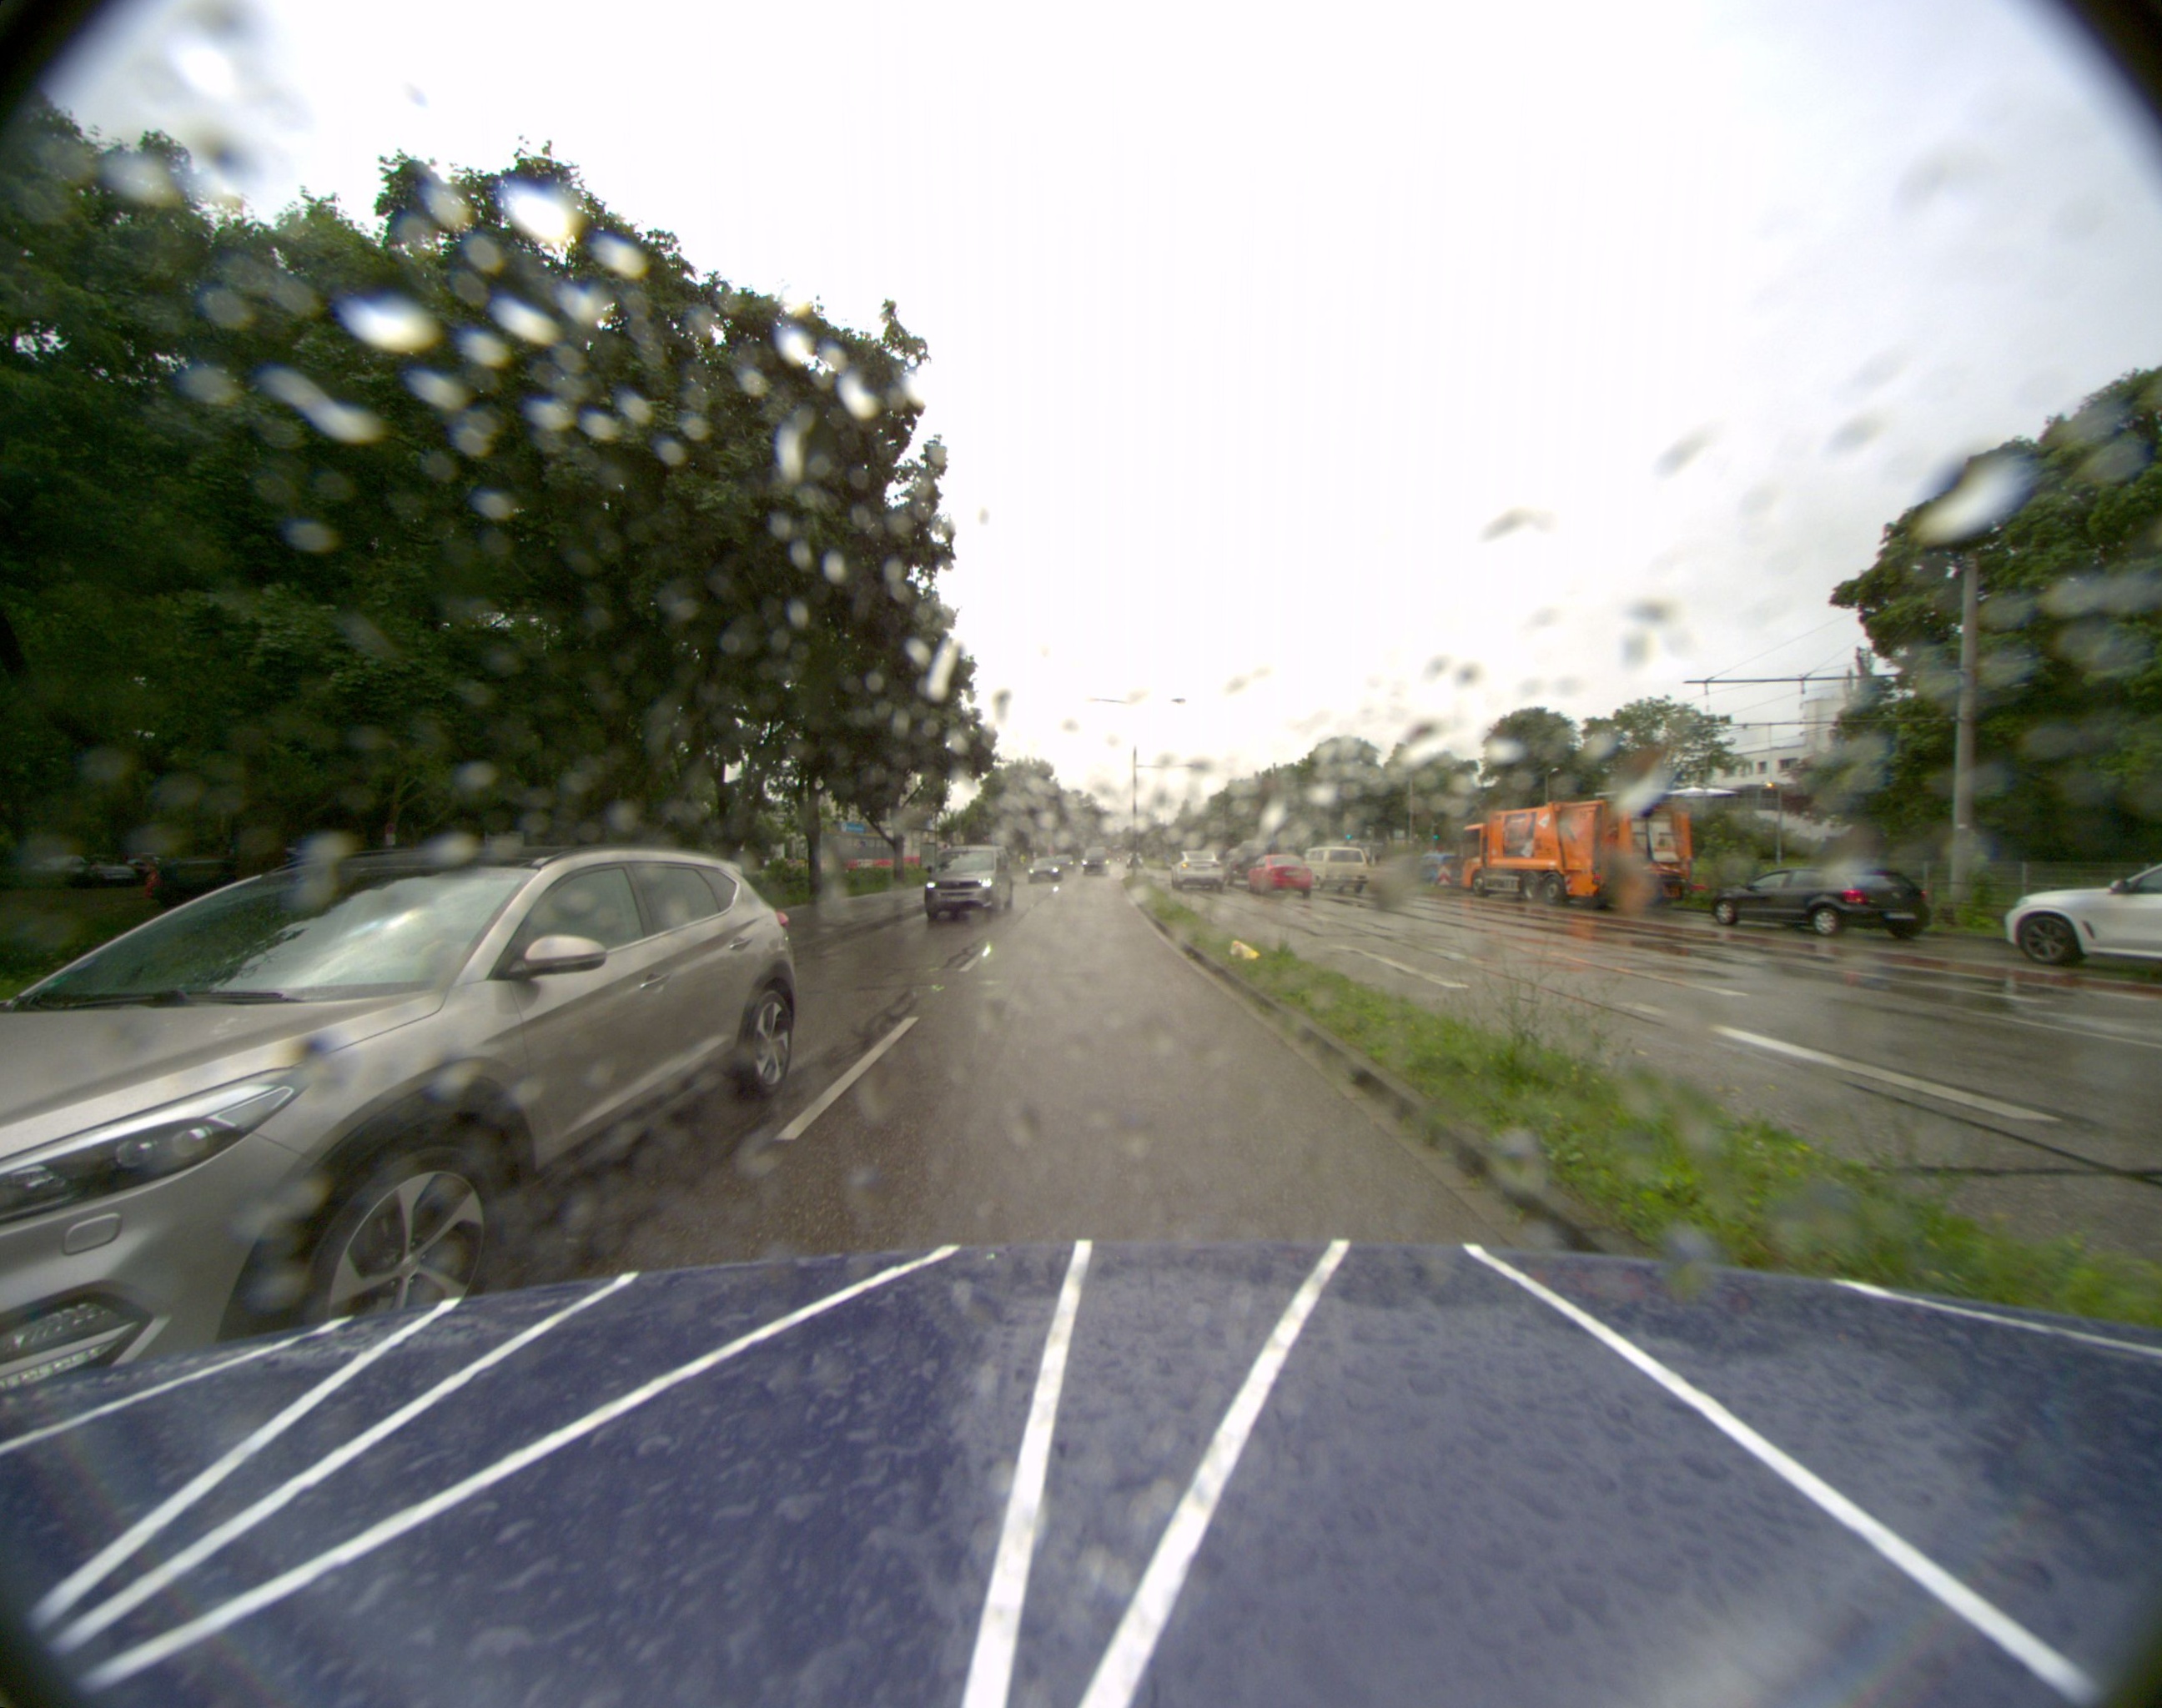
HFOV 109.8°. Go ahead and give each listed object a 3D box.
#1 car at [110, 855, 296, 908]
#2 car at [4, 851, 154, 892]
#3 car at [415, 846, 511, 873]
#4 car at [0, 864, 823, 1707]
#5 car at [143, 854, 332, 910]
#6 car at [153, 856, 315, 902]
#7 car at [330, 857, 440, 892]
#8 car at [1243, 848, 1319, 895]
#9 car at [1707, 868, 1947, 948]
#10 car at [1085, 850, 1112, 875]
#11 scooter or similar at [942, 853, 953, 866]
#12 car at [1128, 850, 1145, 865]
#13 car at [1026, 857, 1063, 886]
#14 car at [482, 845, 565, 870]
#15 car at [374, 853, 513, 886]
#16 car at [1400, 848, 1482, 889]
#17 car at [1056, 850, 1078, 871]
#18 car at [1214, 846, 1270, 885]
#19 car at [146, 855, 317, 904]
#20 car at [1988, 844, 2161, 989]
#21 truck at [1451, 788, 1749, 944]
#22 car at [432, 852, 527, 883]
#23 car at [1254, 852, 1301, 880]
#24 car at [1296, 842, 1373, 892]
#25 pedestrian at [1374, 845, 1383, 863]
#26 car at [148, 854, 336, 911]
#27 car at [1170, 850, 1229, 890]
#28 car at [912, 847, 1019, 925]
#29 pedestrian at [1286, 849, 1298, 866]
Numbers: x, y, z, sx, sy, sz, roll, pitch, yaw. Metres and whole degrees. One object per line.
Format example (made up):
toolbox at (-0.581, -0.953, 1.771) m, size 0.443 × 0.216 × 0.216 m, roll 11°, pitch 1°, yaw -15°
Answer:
car at (-28.162, 0.829, 24.532) m, size 1.665 × 1.441 × 3.759 m, roll -1°, pitch 1°, yaw 41°
car at (-44.595, 0.743, 33.877) m, size 4.292 × 1.601 × 1.900 m, roll -2°, pitch 1°, yaw 4°
car at (-40.976, 0.337, 50.477) m, size 4.600 × 1.574 × 1.924 m, roll -2°, pitch 1°, yaw -5°
car at (-2.930, 0.930, 3.606) m, size 1.889 × 1.601 × 4.195 m, roll -2°, pitch 1°, yaw 1°
car at (-25.880, 0.813, 23.462) m, size 1.665 × 1.441 × 3.759 m, roll -1°, pitch 1°, yaw 41°
car at (-31.366, 0.892, 28.308) m, size 3.759 × 1.441 × 1.599 m, roll -3°, pitch 1°, yaw -40°
car at (-32.906, 0.948, 35.986) m, size 3.718 × 1.441 × 1.670 m, roll -2°, pitch 1°, yaw 4°
car at (7.500, 0.603, 28.952) m, size 1.805 × 1.560 × 4.428 m, roll 1°, pitch 1°, yaw 2°
car at (15.843, 1.071, 16.438) m, size 1.591 × 1.371 × 3.686 m, roll 2°, pitch 1°, yaw 2°
car at (1.334, 0.573, 55.954) m, size 1.812 × 1.683 × 3.777 m, roll -2°, pitch 1°, yaw 3°
scooter or similar at (-12.707, 0.535, 72.411) m, size 0.959 × 1.222 × 0.322 m, roll -1°, pitch 1°, yaw 8°
car at (5.970, 0.387, 81.515) m, size 1.740 × 1.535 × 4.014 m, roll -1°, pitch 0°, yaw 5°
car at (-2.160, 1.033, 46.257) m, size 1.858 × 1.583 × 4.000 m, roll -2°, pitch 1°, yaw 2°
car at (-40.519, 0.245, 55.287) m, size 4.597 × 1.621 × 1.926 m, roll -2°, pitch 1°, yaw 3°
car at (-32.563, 0.773, 38.882) m, size 5.411 × 1.441 × 2.168 m, roll -2°, pitch 1°, yaw 5°
car at (17.102, 0.644, 36.394) m, size 1.998 × 1.699 × 4.527 m, roll -2°, pitch 1°, yaw 4°
car at (-1.180, 0.553, 64.612) m, size 1.651 × 1.652 × 3.776 m, roll -2°, pitch 1°, yaw 1°
car at (7.820, 0.525, 37.334) m, size 1.810 × 1.763 × 5.089 m, roll 1°, pitch 1°, yaw 2°
car at (-29.881, 0.857, 26.914) m, size 3.759 × 1.441 × 1.665 m, roll -3°, pitch 1°, yaw -40°
car at (15.094, 0.830, 9.588) m, size 1.997 × 1.817 × 4.774 m, roll -2°, pitch 1°, yaw 8°
truck at (16.650, 0.250, 25.877) m, size 3.393 × 4.143 × 10.406 m, roll -2°, pitch 1°, yaw 3°
car at (-33.222, 0.711, 42.032) m, size 3.994 × 1.516 × 1.884 m, roll -2°, pitch 1°, yaw 10°
car at (11.202, 0.644, 43.480) m, size 1.645 × 1.419 × 3.999 m, roll 2°, pitch 1°, yaw 1°
car at (10.987, 0.512, 33.291) m, size 1.933 × 2.006 × 4.743 m, roll 1°, pitch 0°, yaw 3°
pedestrian at (30.046, -0.002, 76.834) m, size 0.631 × 1.782 × 0.681 m, roll -2°, pitch 1°, yaw 2°
car at (-23.423, 0.751, 21.403) m, size 3.395 × 1.344 × 1.520 m, roll -3°, pitch 1°, yaw -43°
car at (5.027, 0.630, 32.834) m, size 1.965 × 1.608 × 4.697 m, roll 0°, pitch 0°, yaw 2°
car at (-2.935, 0.743, 20.428) m, size 1.998 × 1.785 × 4.562 m, roll -2°, pitch 1°, yaw 2°
pedestrian at (21.152, 0.345, 76.229) m, size 0.783 × 1.648 × 0.803 m, roll -3°, pitch 1°, yaw -15°
